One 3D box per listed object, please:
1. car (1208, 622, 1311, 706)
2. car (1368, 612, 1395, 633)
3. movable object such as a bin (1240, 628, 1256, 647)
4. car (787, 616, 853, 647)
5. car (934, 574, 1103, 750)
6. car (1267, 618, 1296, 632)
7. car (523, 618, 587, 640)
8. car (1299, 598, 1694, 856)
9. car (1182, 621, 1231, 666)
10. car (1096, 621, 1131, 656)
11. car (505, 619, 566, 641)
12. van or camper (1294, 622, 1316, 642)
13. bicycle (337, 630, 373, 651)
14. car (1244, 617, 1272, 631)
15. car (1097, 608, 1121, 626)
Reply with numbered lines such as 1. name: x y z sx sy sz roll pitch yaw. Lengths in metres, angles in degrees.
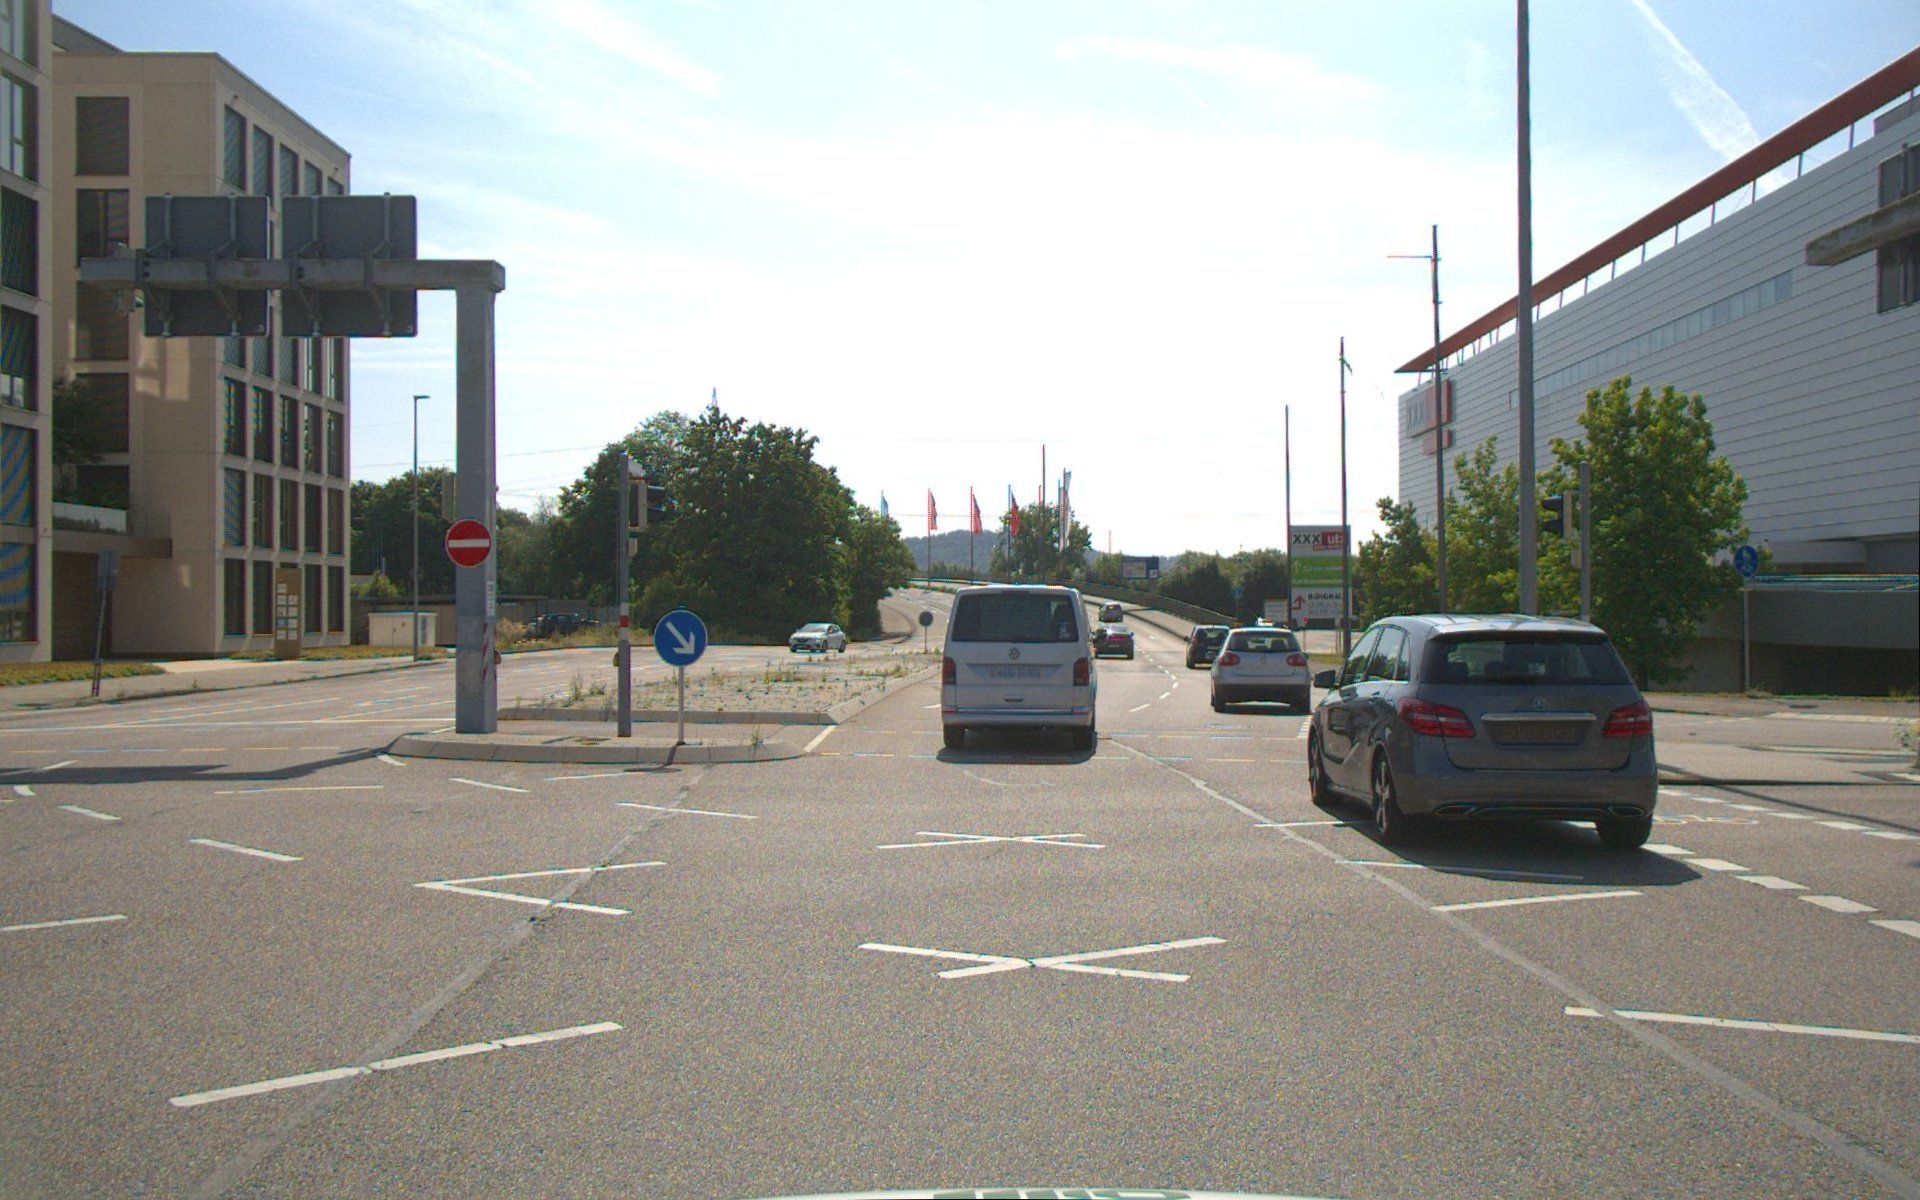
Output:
1. car: 5.475 1.177 30.546 1.631 1.439 3.684 0 -2 6
2. car: 38.270 2.017 150.244 1.637 1.782 4.095 0 0 4
3. movable object such as a bin: 16.763 2.178 96.306 0.792 1.133 1.182 0 -1 4
4. car: -7.074 1.602 83.818 1.744 1.486 4.334 -1 -2 19
5. car: 0.854 0.727 21.170 1.876 2.010 4.300 0 0 6
6. car: 36.254 2.832 186.704 1.956 1.445 3.992 2 -1 -9
7. car: -27.209 1.929 111.206 4.038 1.445 1.718 0 -2 -20
8. car: 3.731 0.816 12.267 1.737 1.566 4.138 1 -1 2
9. car: 8.740 1.528 58.836 1.498 1.506 3.598 1 0 5
10. car: 6.840 1.690 73.481 1.498 1.506 3.249 1 0 6
11. car: -29.796 2.112 116.125 4.038 1.445 1.718 0 -2 -20
12. van or camper: 40.712 3.806 195.110 2.054 2.217 5.441 2 -1 7
13. bicycle: -32.619 2.163 89.189 1.667 1.110 0.588 0 -1 1
14. car: 33.593 2.708 186.658 1.849 1.546 3.991 2 -1 -9
15. car: 12.625 1.433 139.964 1.500 1.506 3.423 1 -1 -3
